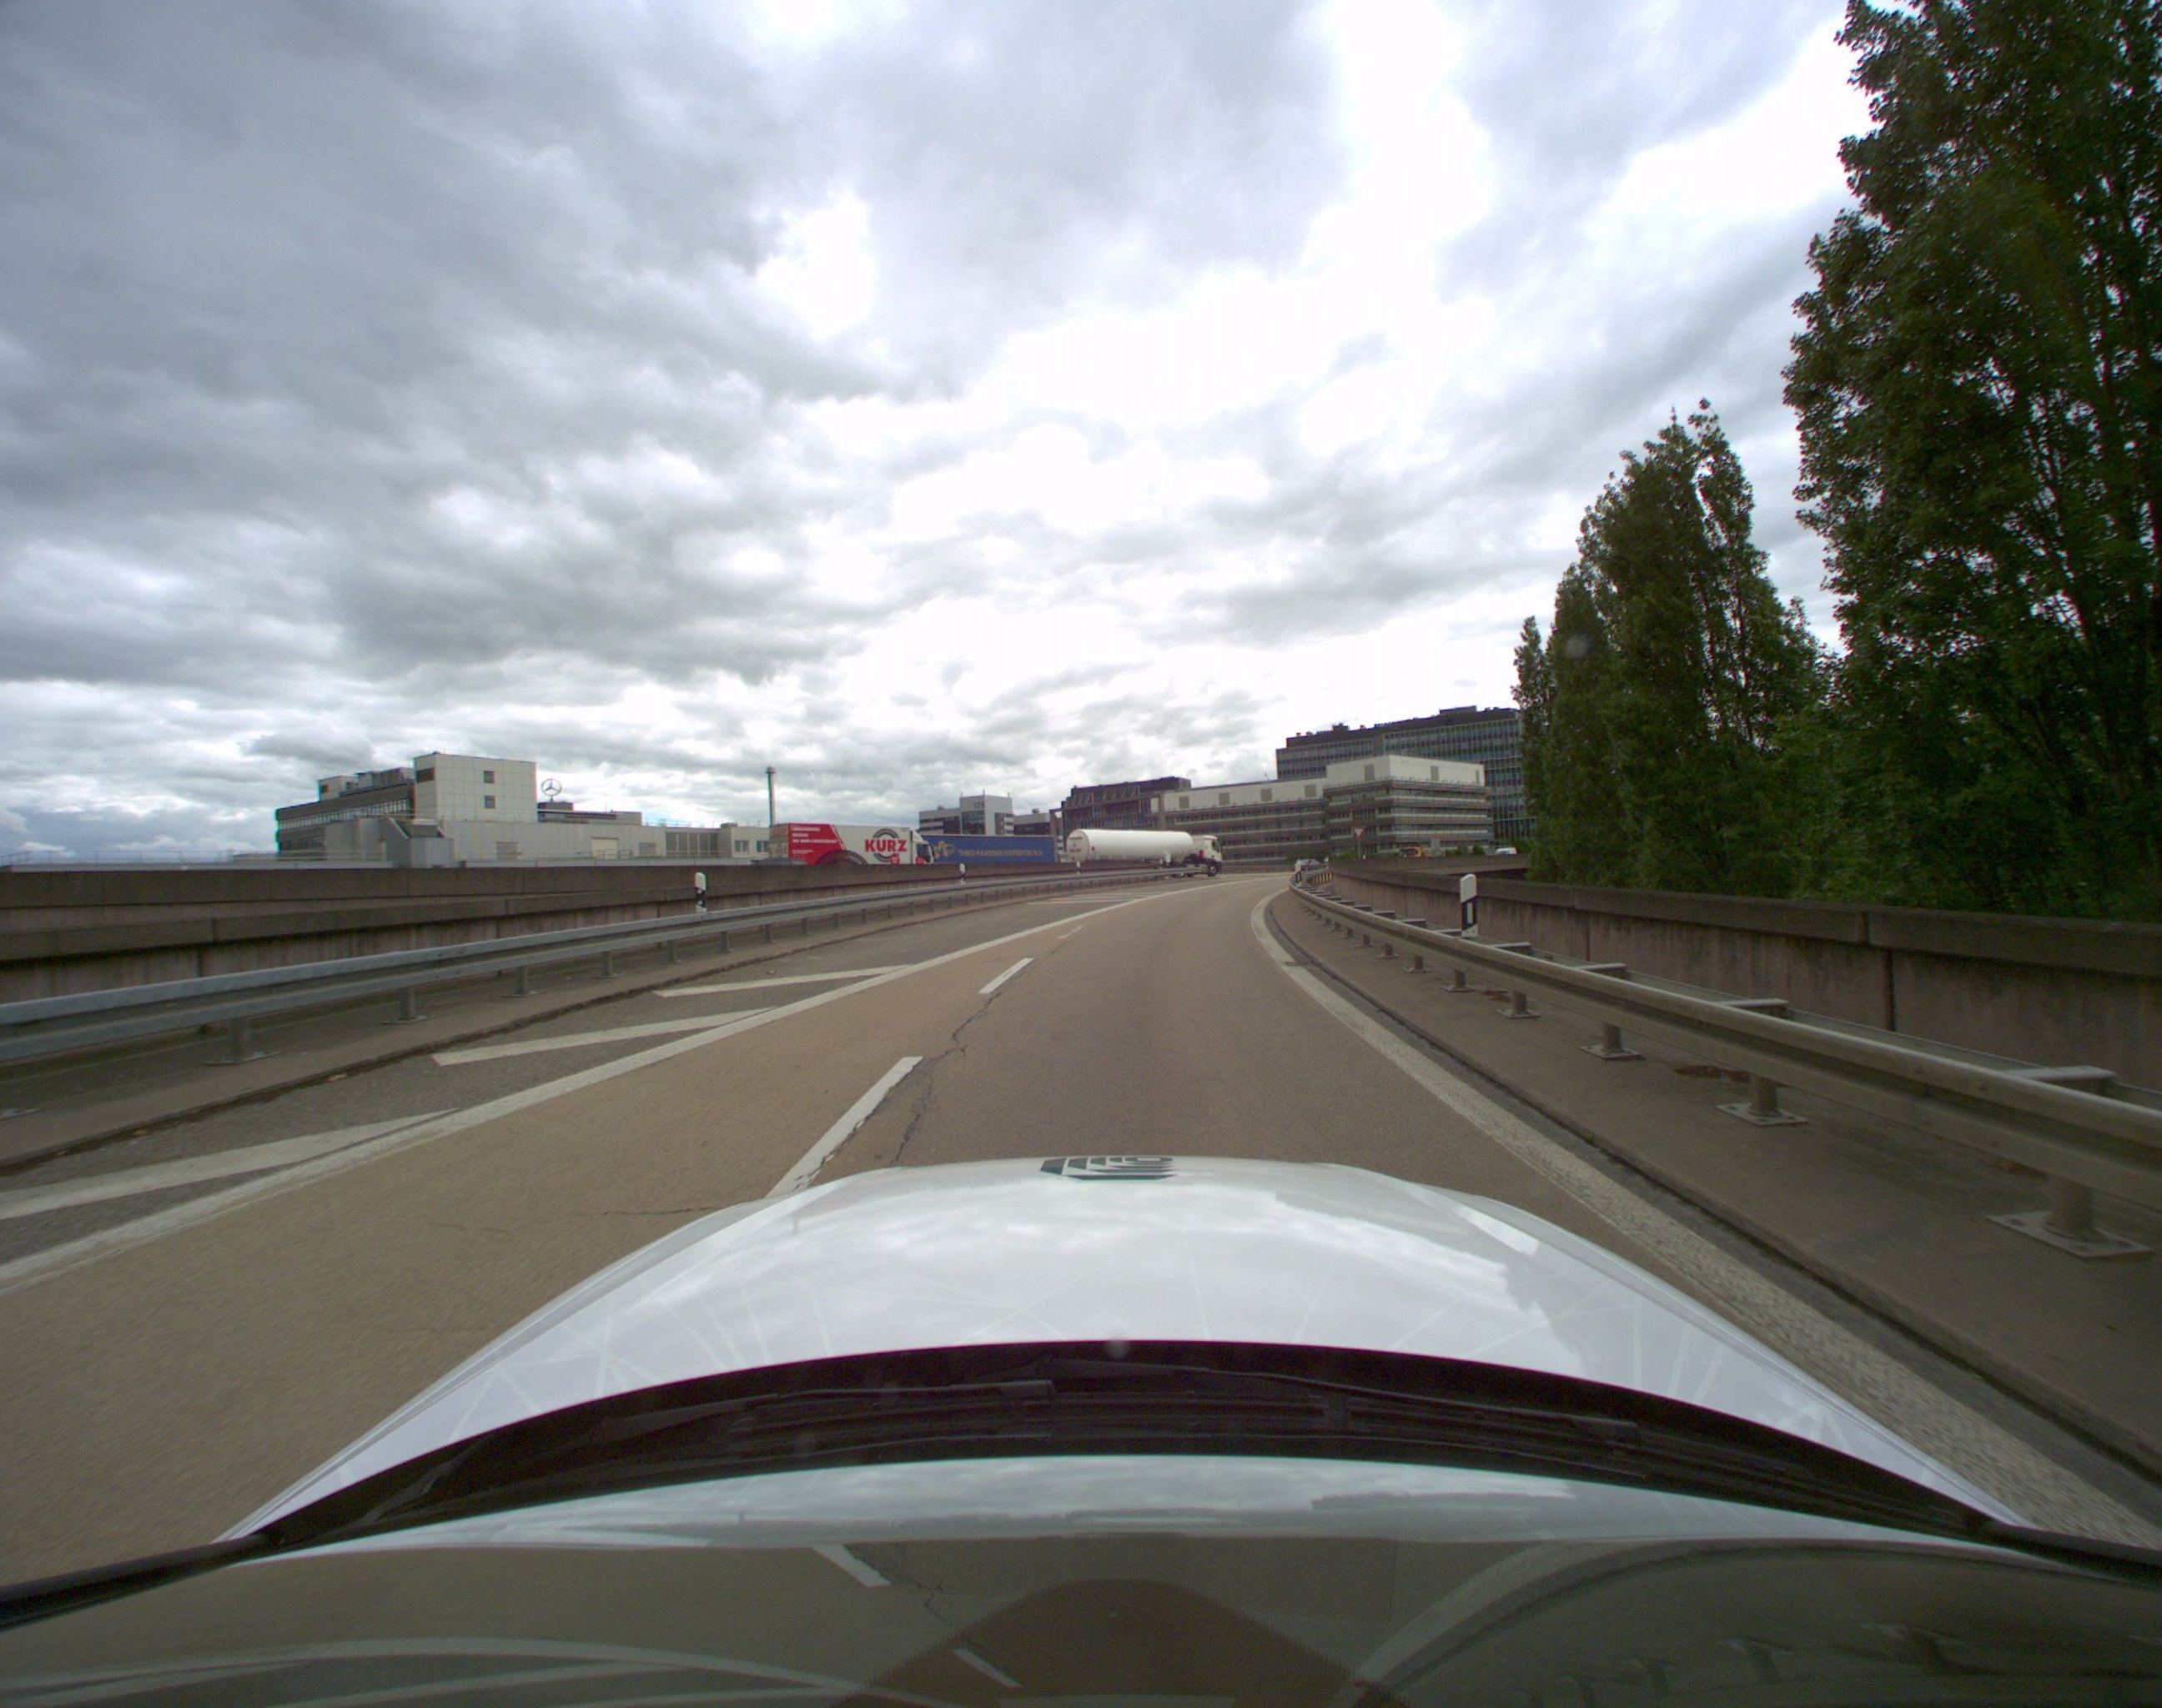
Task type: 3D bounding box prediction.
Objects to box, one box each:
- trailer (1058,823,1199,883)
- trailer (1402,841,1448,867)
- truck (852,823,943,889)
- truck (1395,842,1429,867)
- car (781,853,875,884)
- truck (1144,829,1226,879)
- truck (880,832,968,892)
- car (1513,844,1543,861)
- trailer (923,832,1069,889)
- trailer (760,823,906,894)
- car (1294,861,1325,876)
[{"bbox_3d":[3.535,-0.093,56.479,11.218,3.738,2.766,-1,-2,-44],"label":"trailer"},{"bbox_3d":[51.562,-0.083,121.839,9.410,3.637,2.709,-1,-2,-45],"label":"trailer"},{"bbox_3d":[-10.909,0.142,48.619,4.464,3.690,2.666,-1,-2,-44],"label":"truck"},{"bbox_3d":[48.188,0.090,118.516,5.135,3.480,2.716,-1,-2,-44],"label":"truck"},{"bbox_3d":[-13.023,0.696,42.113,4.289,1.505,1.830,0,0,-43],"label":"car"},{"bbox_3d":[7.744,-0.032,60.493,5.999,3.430,2.744,-1,-2,-44],"label":"truck"},{"bbox_3d":[-12.055,0.562,62.663,5.726,4.347,3.133,-1,-2,-42],"label":"truck"},{"bbox_3d":[73.623,-0.244,134.085,6.225,2.644,2.555,-1,-1,-43],"label":"car"},{"bbox_3d":[-6.786,0.454,67.570,12.588,4.347,3.133,-1,-2,-43],"label":"trailer"},{"bbox_3d":[-13.799,0.224,45.837,7.355,3.690,2.666,-1,-2,-44],"label":"trailer"},{"bbox_3d":[26.343,1.712,93.939,3.706,1.591,1.630,-1,-2,-43],"label":"car"}]
